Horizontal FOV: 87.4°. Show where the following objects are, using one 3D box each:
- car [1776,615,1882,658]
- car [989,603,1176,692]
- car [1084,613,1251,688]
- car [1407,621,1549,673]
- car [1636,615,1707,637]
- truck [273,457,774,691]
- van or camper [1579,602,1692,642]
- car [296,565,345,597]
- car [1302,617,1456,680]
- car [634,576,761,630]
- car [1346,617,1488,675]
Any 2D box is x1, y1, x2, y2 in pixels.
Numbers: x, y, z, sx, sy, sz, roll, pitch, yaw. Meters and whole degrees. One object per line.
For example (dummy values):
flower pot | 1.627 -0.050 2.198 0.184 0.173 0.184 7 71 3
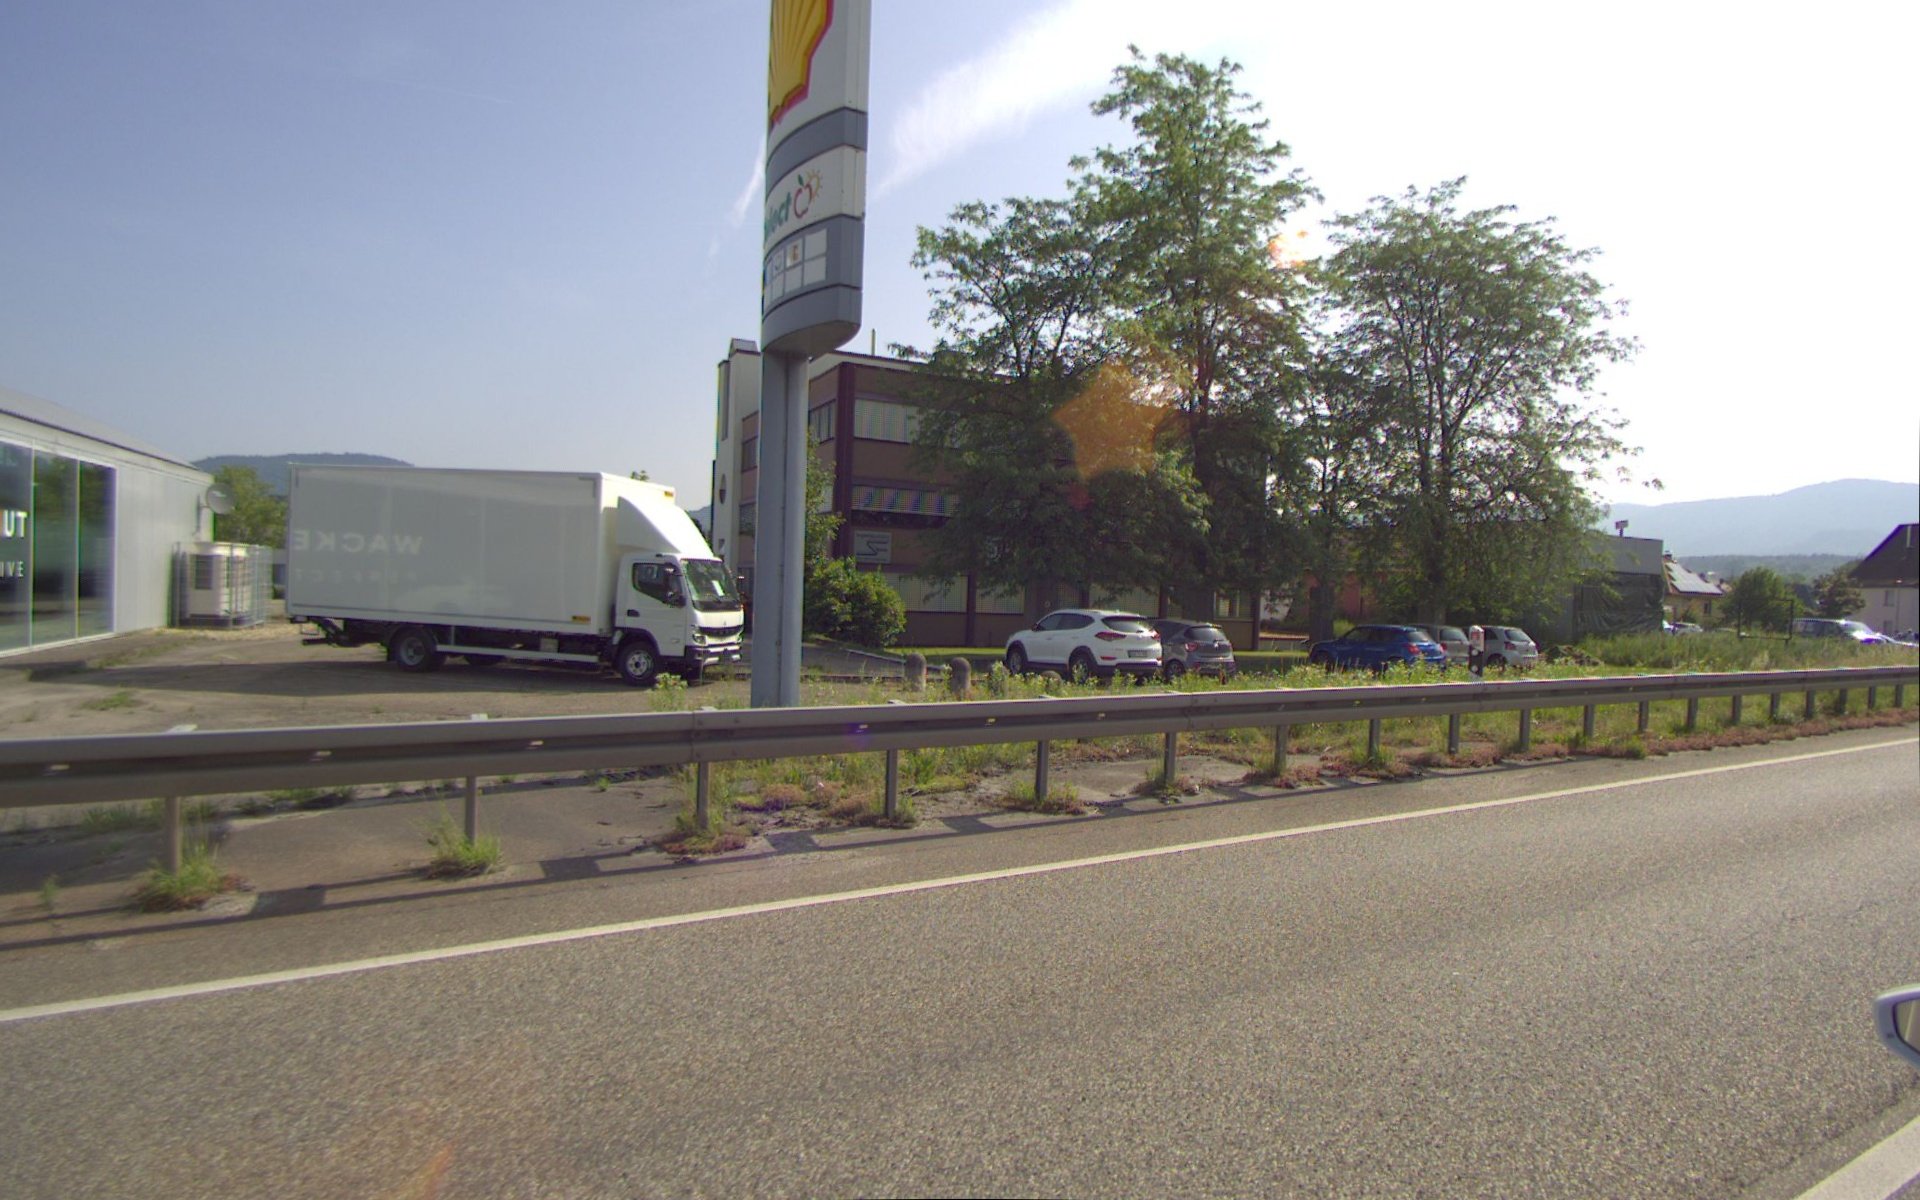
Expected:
car | 45.794 1.876 53.086 1.959 2.040 4.908 1 0 10
car | 2.713 1.014 23.188 1.912 1.677 4.323 2 1 -34
car | 4.999 1.182 24.636 1.912 1.520 3.724 2 1 -34
car | 17.060 1.525 33.227 1.841 1.479 3.726 2 0 -32
car | 60.125 2.183 84.976 1.839 1.655 4.539 1 2 -28
truck | -7.701 -0.539 18.006 8.045 3.604 2.808 2 1 12
van or camper | 56.022 1.776 83.523 2.713 2.880 7.364 2 1 -28
car | -36.148 -1.076 56.827 1.707 1.625 3.976 3 -1 -24
car | 12.227 1.381 29.507 1.911 1.520 3.726 2 1 -32
car | -9.119 0.118 34.883 3.948 1.625 1.718 3 -1 -26
car | 14.341 1.412 31.719 1.833 1.520 3.736 2 1 -25
